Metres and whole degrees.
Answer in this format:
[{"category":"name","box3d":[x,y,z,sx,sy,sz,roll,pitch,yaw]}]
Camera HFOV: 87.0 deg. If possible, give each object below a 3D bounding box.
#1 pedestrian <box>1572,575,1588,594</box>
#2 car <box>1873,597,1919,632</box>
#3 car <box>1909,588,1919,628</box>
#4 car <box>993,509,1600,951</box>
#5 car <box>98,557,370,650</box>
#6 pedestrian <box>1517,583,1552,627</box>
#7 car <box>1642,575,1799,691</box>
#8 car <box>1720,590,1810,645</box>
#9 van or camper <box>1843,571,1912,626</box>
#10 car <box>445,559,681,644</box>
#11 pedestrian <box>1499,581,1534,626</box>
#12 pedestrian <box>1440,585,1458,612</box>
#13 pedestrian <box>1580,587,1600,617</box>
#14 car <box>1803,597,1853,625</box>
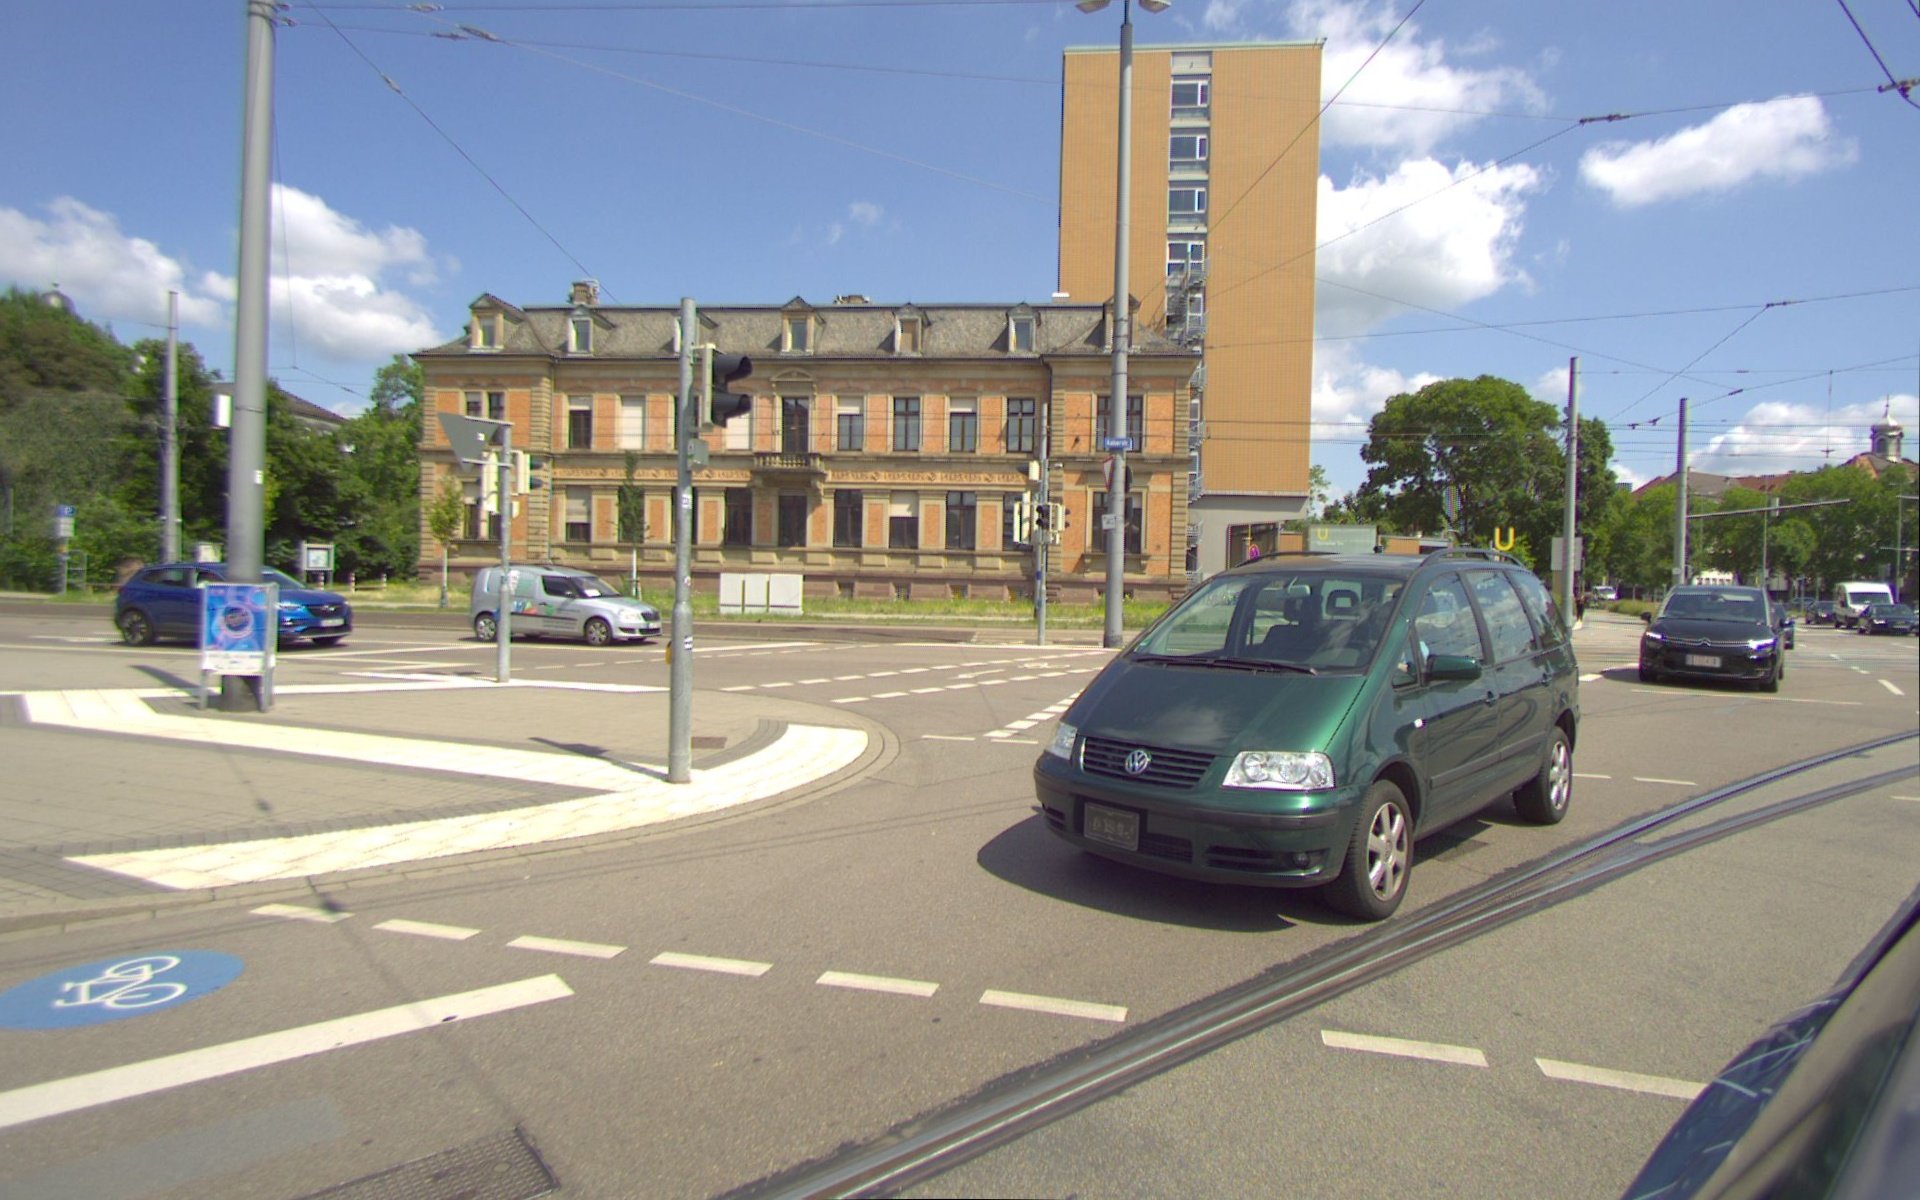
[{"category":"pedestrian","box3d":[58.581,-1.472,95.672,1.141,1.710,1.299,2,1,27]},{"category":"car","box3d":[43.628,0.642,46.637,1.892,1.482,4.203,2,2,38]},{"category":"car","box3d":[51.185,0.434,52.921,1.806,2.038,3.947,2,1,37]},{"category":"car","box3d":[2.234,0.493,6.052,4.017,1.739,1.816,0,1,-44]},{"category":"car","box3d":[-13.890,0.002,19.449,4.360,1.569,1.868,2,3,13]},{"category":"pedestrian","box3d":[23.203,0.187,40.890,1.010,1.741,0.726,1,1,10]},{"category":"car","box3d":[12.959,0.450,17.180,1.866,1.636,4.364,3,3,39]},{"category":"car","box3d":[24.643,0.543,30.933,1.867,1.504,4.358,2,0,42]},{"category":"van or camper","box3d":[49.258,-0.083,54.453,2.221,2.769,5.446,2,1,38]},{"category":"car","box3d":[-8.353,-0.015,21.407,4.359,1.607,1.868,2,1,12]},{"category":"pedestrian","box3d":[22.909,0.137,41.680,1.010,1.835,0.726,1,1,10]},{"category":"pedestrian","box3d":[30.636,-0.088,63.390,0.826,1.646,0.757,2,1,39]},{"category":"pedestrian","box3d":[34.036,0.118,54.666,0.826,1.605,0.757,2,1,39]},{"category":"car","box3d":[53.555,0.667,62.514,1.769,1.594,3.914,2,1,33]}]
